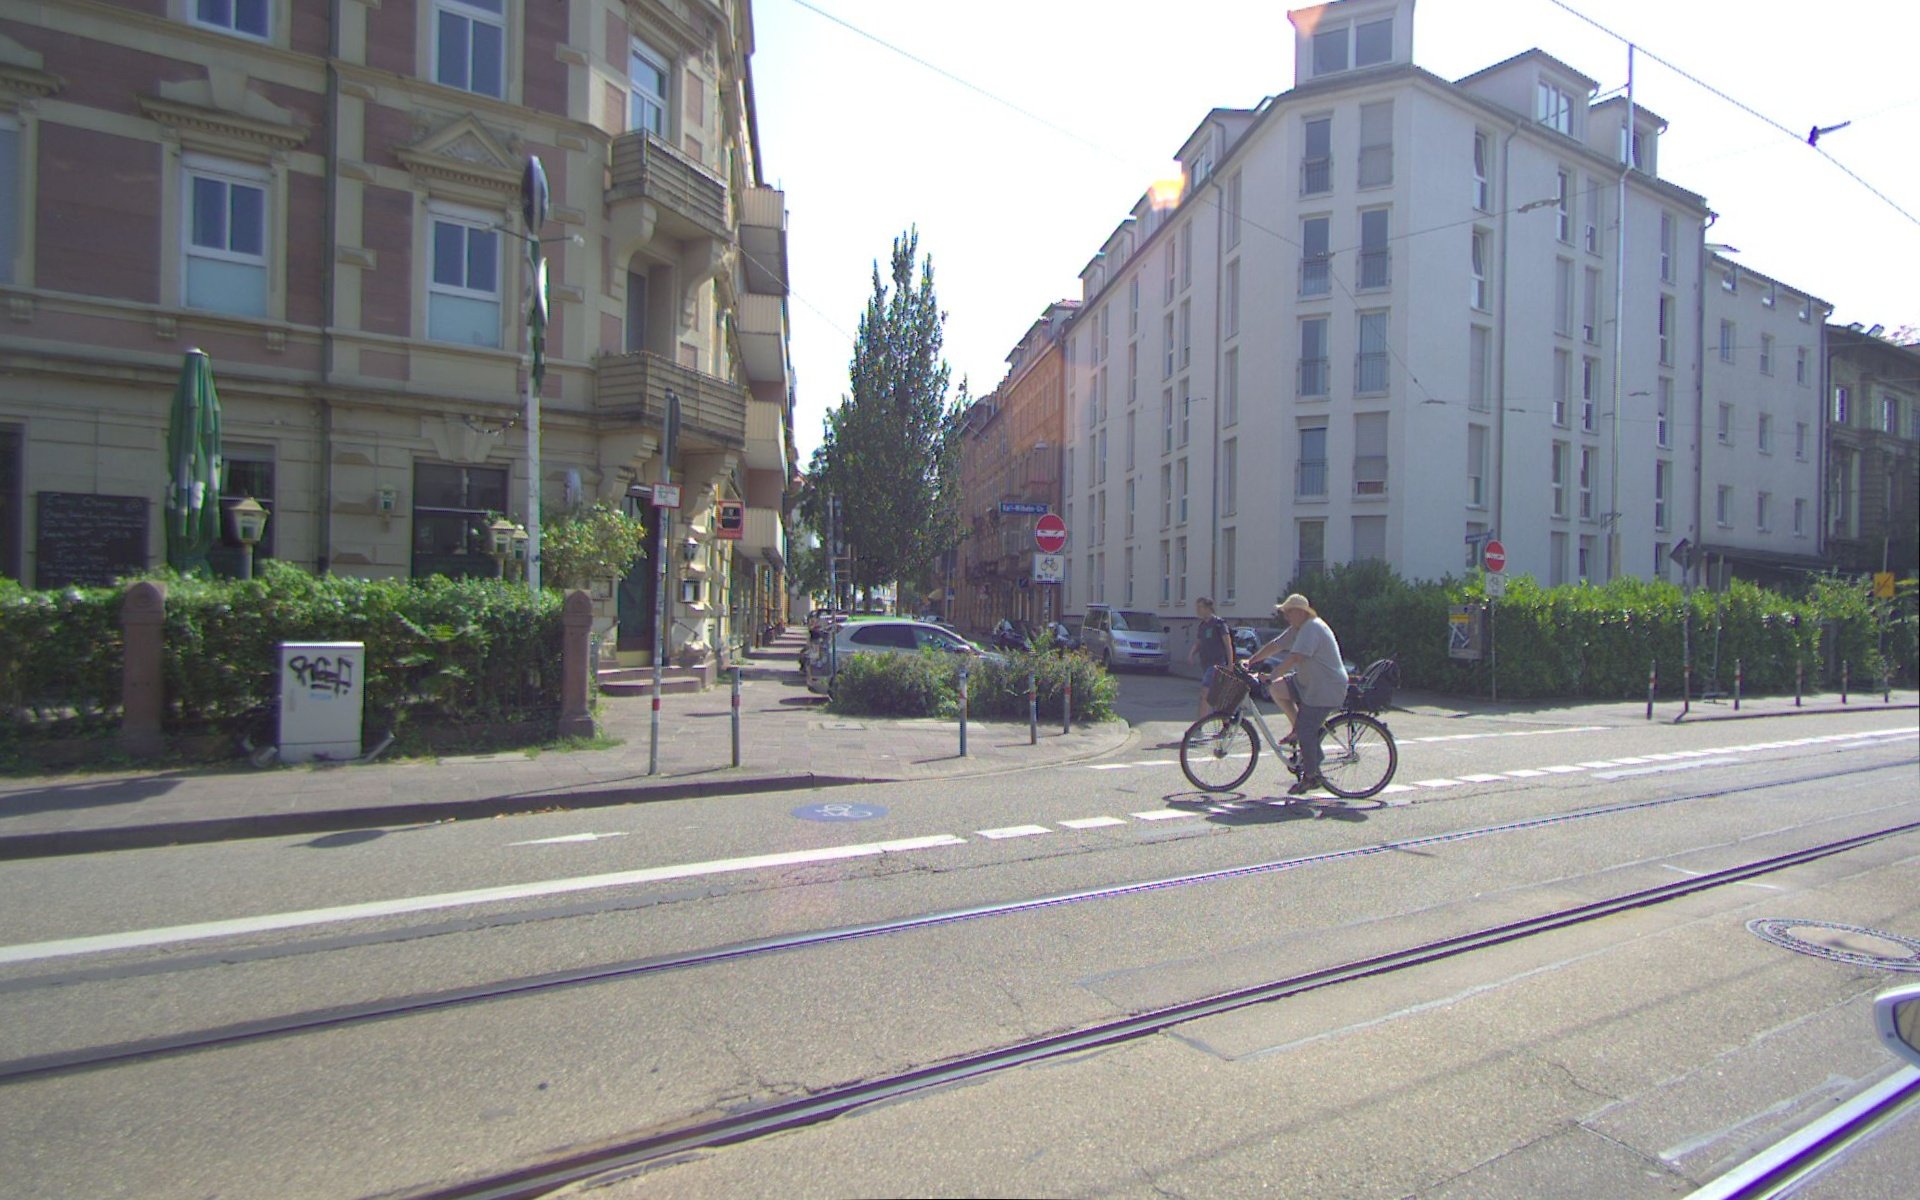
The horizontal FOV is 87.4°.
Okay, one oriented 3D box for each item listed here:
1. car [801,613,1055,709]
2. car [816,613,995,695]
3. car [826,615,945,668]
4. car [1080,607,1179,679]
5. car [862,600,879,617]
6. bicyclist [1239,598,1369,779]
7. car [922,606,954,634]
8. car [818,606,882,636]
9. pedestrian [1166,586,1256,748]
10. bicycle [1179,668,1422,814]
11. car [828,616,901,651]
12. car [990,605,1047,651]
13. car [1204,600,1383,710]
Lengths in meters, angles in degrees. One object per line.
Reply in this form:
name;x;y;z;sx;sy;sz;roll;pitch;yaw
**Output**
car;-0.620;1.001;17.150;4.071;1.508;1.996;1;-1;-11
car;-1.222;1.147;21.674;3.673;1.595;1.736;2;0;-10
car;-2.347;1.281;31.180;3.543;1.476;1.736;2;0;-10
car;5.139;1.271;30.986;1.856;2.015;3.995;2;0;-7
car;-11.307;1.086;127.012;1.856;2.015;3.994;2;0;-9
bicyclist;2.879;0.716;8.478;0.954;1.447;0.658;0;-1;12
car;-1.686;1.500;76.487;1.856;2.015;3.994;2;0;-9
car;-6.297;1.188;57.437;3.543;1.610;1.736;2;0;-10
pedestrian;3.306;0.862;13.245;0.962;2.040;0.653;1;-1;-28
bicycle;2.816;1.154;8.482;1.876;1.091;0.643;0;-1;12
car;-4.428;1.531;46.513;3.225;1.476;1.736;2;0;-10
car;2.717;1.301;47.463;1.856;2.015;3.994;2;0;-9
car;6.727;1.037;20.755;1.856;2.015;3.994;2;0;-9
